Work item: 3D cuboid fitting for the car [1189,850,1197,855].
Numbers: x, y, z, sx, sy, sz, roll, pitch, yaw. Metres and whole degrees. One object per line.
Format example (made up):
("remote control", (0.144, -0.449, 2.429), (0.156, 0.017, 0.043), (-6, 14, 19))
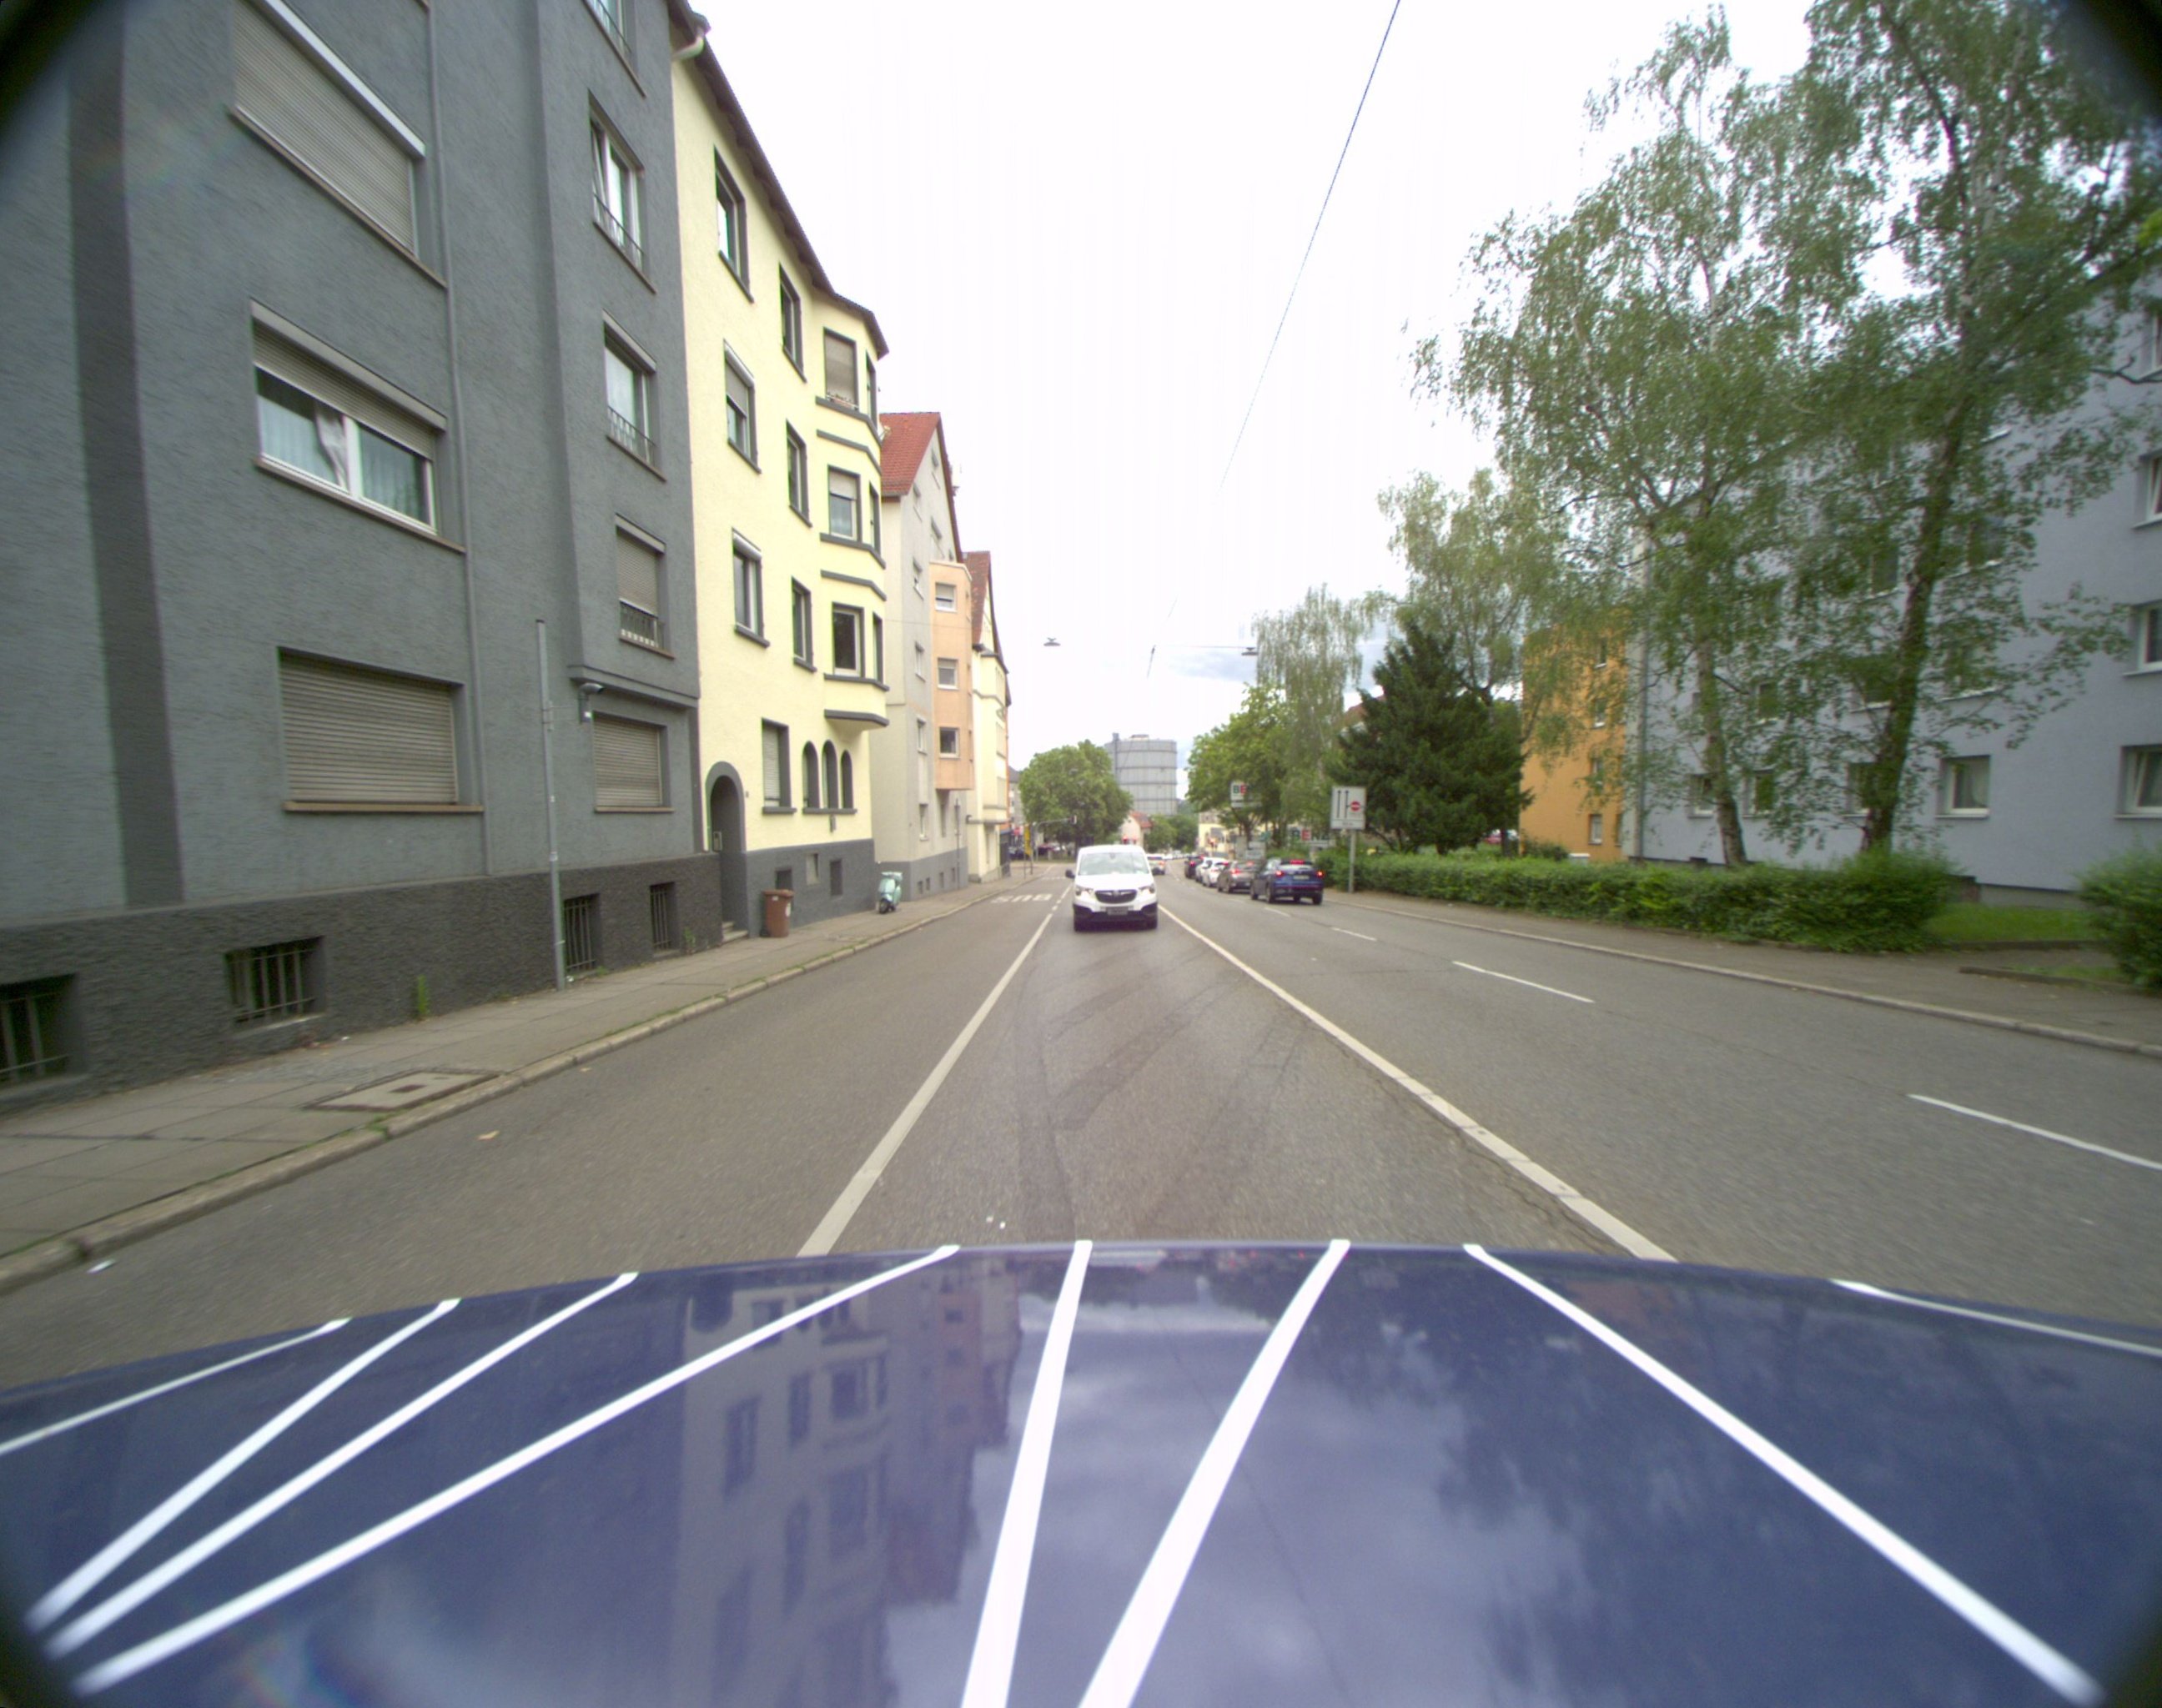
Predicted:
("car", (31.018, -0.424, 209.762), (1.757, 1.439, 3.755), (-1, 1, 14))

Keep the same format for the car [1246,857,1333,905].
("car", (6.983, 0.853, 25.932), (1.843, 1.439, 4.311), (1, 1, 1))

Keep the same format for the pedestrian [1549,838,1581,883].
("pedestrian", (19.009, 0.262, 29.848), (0.724, 1.743, 0.794), (-1, -3, 6))

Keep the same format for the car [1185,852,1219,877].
("car", (8.557, 0.681, 54.081), (1.955, 1.633, 4.414), (2, 1, 4))

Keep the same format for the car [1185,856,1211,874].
("car", (9.241, 0.871, 60.461), (1.805, 1.274, 4.238), (2, 1, 6))

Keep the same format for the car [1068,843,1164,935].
("car", (0.767, 0.695, 17.600), (1.888, 1.827, 4.677), (-1, 0, 2))

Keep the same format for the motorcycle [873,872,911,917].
("motorcycle", (-5.358, 1.119, 21.642), (0.539, 1.149, 2.226), (2, 0, -2))

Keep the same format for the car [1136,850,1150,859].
("car", (12.128, 0.158, 149.276), (1.996, 1.620, 4.413), (-2, 1, 13))

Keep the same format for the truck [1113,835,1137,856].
("truck", (7.728, -1.508, 132.715), (2.769, 3.482, 8.177), (-2, 1, 12))

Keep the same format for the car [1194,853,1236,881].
("car", (8.182, 0.766, 46.746), (1.956, 1.584, 4.499), (2, 1, 3))

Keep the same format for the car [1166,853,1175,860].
("car", (24.229, 0.685, 205.844), (1.996, 1.590, 4.004), (-2, 0, 13))

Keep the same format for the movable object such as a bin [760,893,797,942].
("movable object such as a bin", (-5.863, 1.221, 14.731), (0.476, 0.887, 0.517), (2, 1, 0))

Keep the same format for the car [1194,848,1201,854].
("car", (36.639, -0.884, 238.377), (1.868, 1.873, 4.288), (2, 1, 10))

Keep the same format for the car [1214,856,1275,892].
("car", (7.145, 0.842, 33.544), (1.843, 1.439, 4.311), (1, 1, 1))

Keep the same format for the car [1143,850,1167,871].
("car", (5.881, 0.513, 60.742), (1.779, 1.538, 4.326), (2, 1, 5))

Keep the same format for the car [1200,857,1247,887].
("car", (7.546, 0.911, 40.518), (1.843, 1.404, 4.074), (2, 1, 2))

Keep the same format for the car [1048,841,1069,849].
("car", (-4.139, -1.627, 139.057), (3.624, 1.496, 1.787), (-1, 2, -41))

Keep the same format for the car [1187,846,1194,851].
("car", (36.648, -1.707, 254.678), (1.996, 1.590, 4.004), (-2, 0, 13))

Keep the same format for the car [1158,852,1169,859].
("car", (20.222, 0.448, 186.353), (1.996, 1.590, 4.004), (-2, 0, 13))

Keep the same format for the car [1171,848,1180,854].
("car", (27.570, -0.912, 221.803), (1.996, 1.590, 4.004), (-2, 0, 13))

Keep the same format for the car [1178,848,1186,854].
("car", (30.843, -0.894, 232.341), (1.996, 1.590, 4.004), (-2, 0, 13))

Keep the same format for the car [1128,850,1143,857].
("car", (10.142, -0.112, 141.237), (1.916, 1.291, 4.413), (-2, 1, 13))

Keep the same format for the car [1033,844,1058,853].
("car", (-6.030, -0.883, 129.757), (4.007, 1.496, 1.858), (-1, 2, -36))
